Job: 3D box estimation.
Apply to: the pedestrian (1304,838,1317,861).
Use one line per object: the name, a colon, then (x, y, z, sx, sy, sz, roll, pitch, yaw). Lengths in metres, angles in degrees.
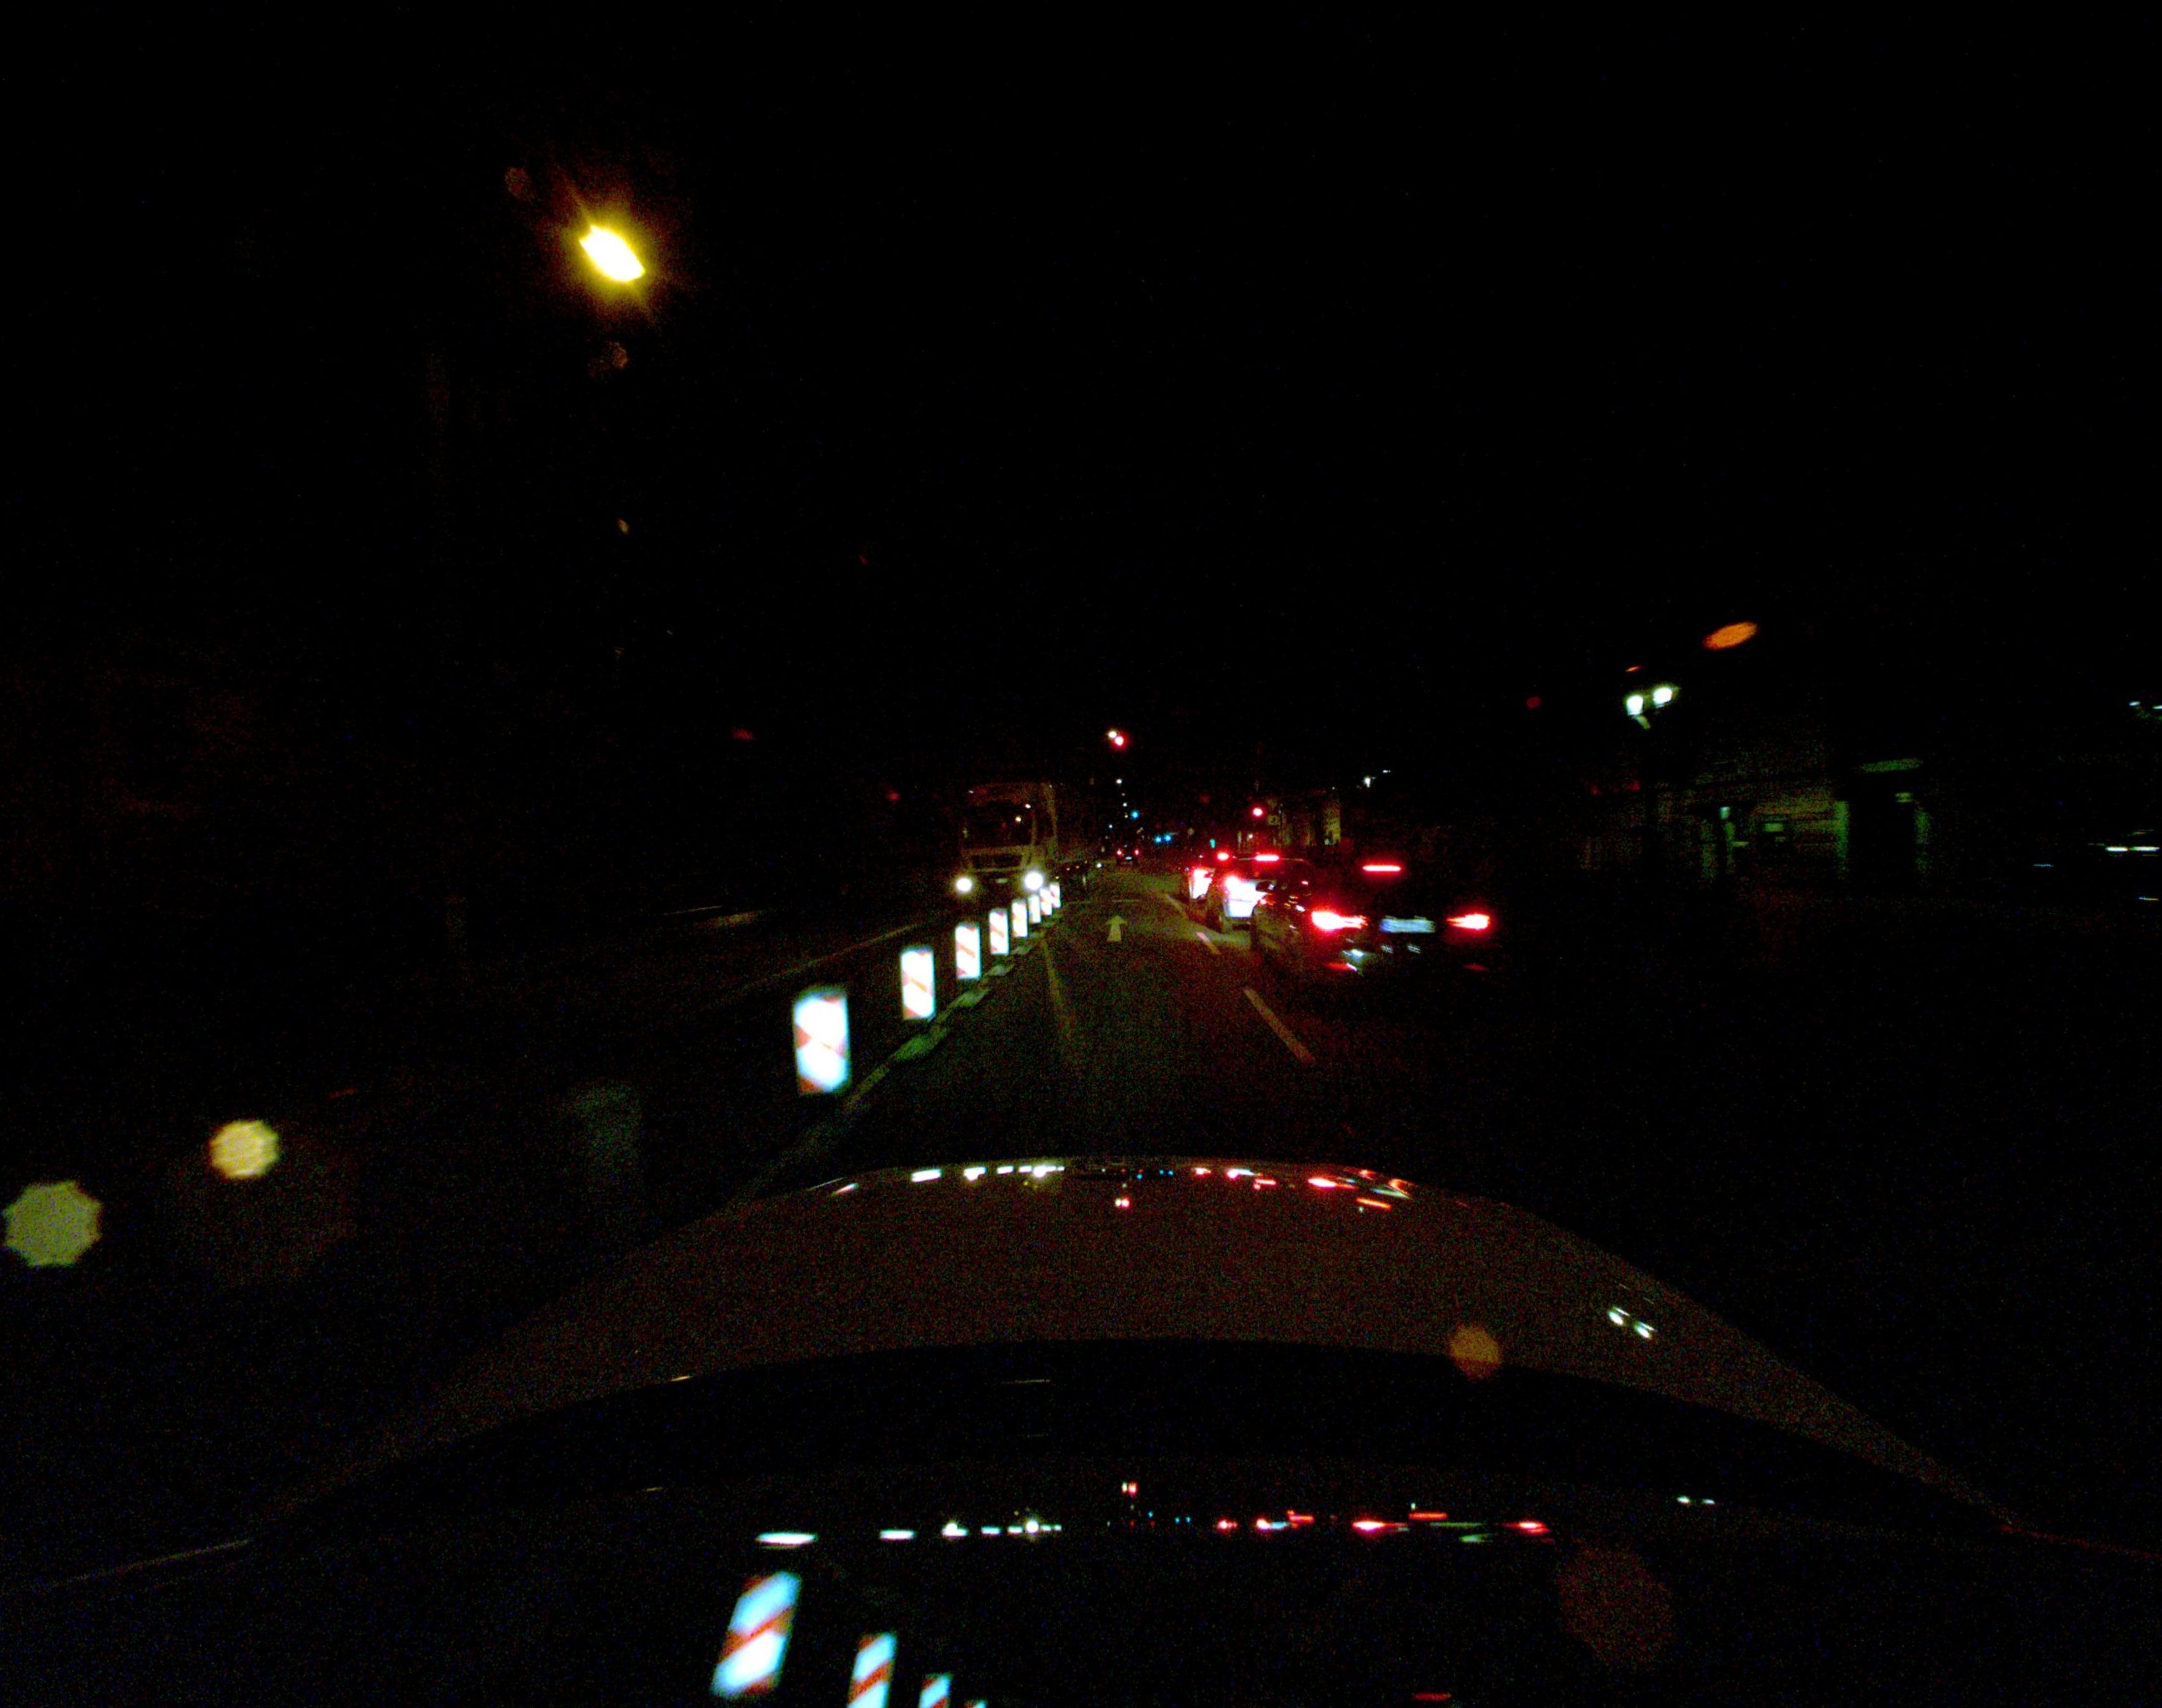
pedestrian: (17.624, -0.367, 62.644, 0.711, 1.769, 0.908, -2, 0, 3)

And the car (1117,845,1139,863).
car: (4.389, -0.023, 76.478, 1.986, 1.640, 4.002, -2, 0, 2)

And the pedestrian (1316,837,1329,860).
pedestrian: (18.541, -0.408, 62.493, 0.735, 1.769, 0.908, -2, 0, 3)

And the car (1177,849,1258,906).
car: (3.719, 0.577, 22.802, 1.722, 1.435, 4.213, 0, 0, 2)

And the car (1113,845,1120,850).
car: (10.100, -1.844, 231.230, 1.771, 1.390, 4.001, -2, 1, 1)

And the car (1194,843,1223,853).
car: (18.444, -0.893, 118.012, 3.967, 1.386, 1.774, -2, 1, 6)

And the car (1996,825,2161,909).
car: (18.974, 0.196, 14.048, 1.506, 1.395, 4.485, -2, 0, 3)

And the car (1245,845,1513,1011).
car: (3.194, 0.657, 9.819, 1.797, 1.494, 4.735, 1, 0, 4)

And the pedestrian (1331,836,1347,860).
pedestrian: (19.748, -0.449, 62.340, 0.897, 1.769, 0.908, -2, 0, 3)

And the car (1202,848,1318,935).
car: (3.408, 0.635, 16.202, 1.630, 1.494, 4.003, 0, 0, 3)

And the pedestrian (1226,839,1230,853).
pedestrian: (22.055, -1.211, 122.196, 0.529, 2.013, 0.670, -2, 0, 2)

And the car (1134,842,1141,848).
car: (16.998, -2.731, 245.580, 1.987, 1.596, 4.001, -2, 0, 1)

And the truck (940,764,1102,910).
truck: (-1.482, -0.500, 26.551, 2.738, 3.717, 10.140, -3, 0, 9)
